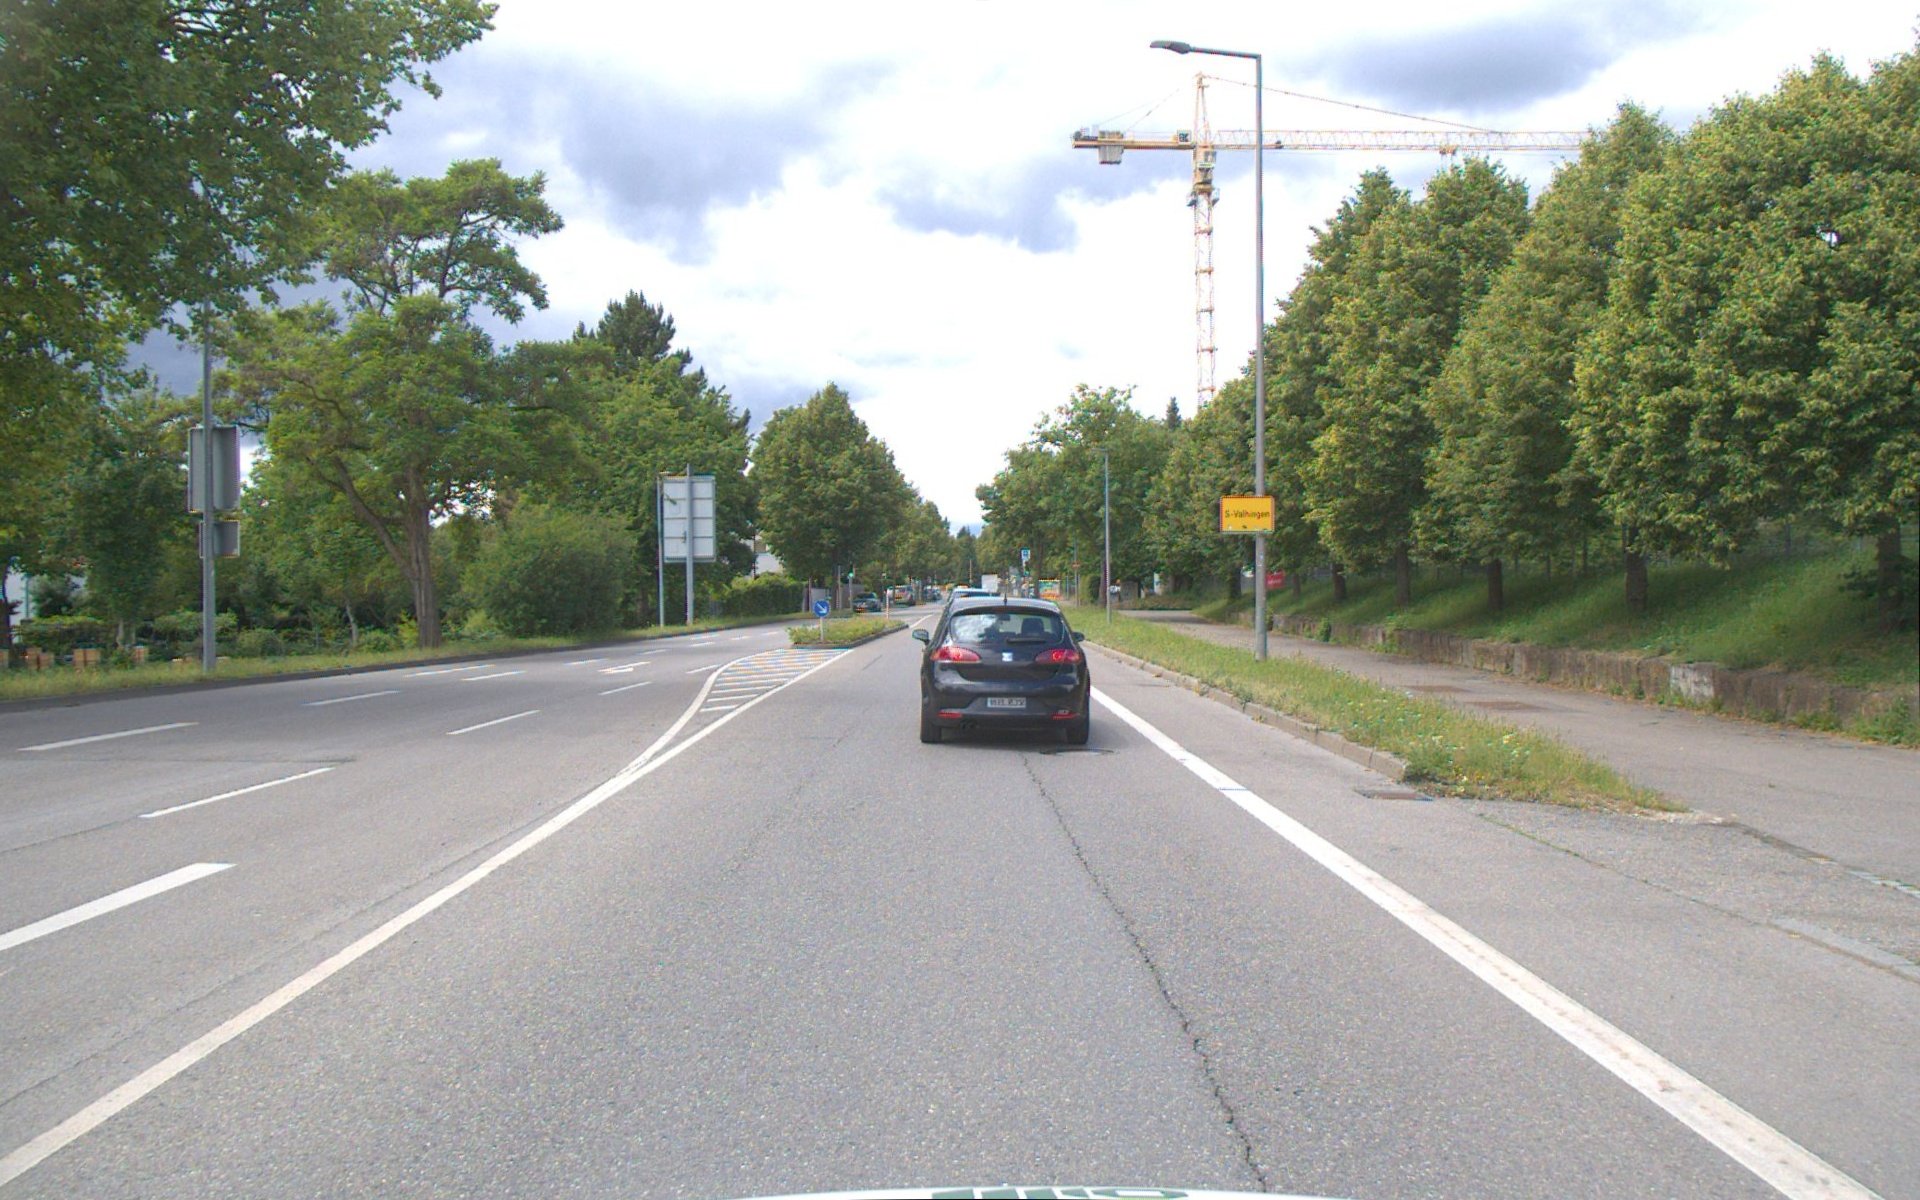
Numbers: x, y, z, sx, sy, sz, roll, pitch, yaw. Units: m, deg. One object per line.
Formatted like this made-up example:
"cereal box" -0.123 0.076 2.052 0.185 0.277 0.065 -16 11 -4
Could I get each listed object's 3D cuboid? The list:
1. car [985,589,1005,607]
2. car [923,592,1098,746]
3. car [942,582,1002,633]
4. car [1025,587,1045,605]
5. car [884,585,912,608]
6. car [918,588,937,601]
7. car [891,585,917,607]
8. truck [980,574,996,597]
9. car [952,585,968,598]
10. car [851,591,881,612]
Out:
"car" 3.388 -0.219 158.022 1.842 1.718 4.214 -1 0 1
"car" 0.484 0.648 17.499 1.628 1.426 3.812 1 0 0
"car" 0.380 0.217 52.684 1.808 1.536 3.812 1 0 0
"car" 6.483 -0.377 142.534 1.653 1.516 3.355 -1 0 1
"car" -5.559 -0.293 148.284 2.056 1.929 5.785 -3 0 1
"car" -3.977 -0.662 205.524 2.056 1.532 5.785 -3 0 1
"car" -5.270 -0.371 155.751 2.056 1.929 5.785 -3 0 1
"truck" 3.965 -2.046 234.373 2.232 3.158 8.511 1 0 1
"car" 0.056 -1.112 221.948 1.836 1.663 4.342 -3 0 3
"car" -6.721 0.115 118.998 1.682 1.419 4.802 -3 0 1
